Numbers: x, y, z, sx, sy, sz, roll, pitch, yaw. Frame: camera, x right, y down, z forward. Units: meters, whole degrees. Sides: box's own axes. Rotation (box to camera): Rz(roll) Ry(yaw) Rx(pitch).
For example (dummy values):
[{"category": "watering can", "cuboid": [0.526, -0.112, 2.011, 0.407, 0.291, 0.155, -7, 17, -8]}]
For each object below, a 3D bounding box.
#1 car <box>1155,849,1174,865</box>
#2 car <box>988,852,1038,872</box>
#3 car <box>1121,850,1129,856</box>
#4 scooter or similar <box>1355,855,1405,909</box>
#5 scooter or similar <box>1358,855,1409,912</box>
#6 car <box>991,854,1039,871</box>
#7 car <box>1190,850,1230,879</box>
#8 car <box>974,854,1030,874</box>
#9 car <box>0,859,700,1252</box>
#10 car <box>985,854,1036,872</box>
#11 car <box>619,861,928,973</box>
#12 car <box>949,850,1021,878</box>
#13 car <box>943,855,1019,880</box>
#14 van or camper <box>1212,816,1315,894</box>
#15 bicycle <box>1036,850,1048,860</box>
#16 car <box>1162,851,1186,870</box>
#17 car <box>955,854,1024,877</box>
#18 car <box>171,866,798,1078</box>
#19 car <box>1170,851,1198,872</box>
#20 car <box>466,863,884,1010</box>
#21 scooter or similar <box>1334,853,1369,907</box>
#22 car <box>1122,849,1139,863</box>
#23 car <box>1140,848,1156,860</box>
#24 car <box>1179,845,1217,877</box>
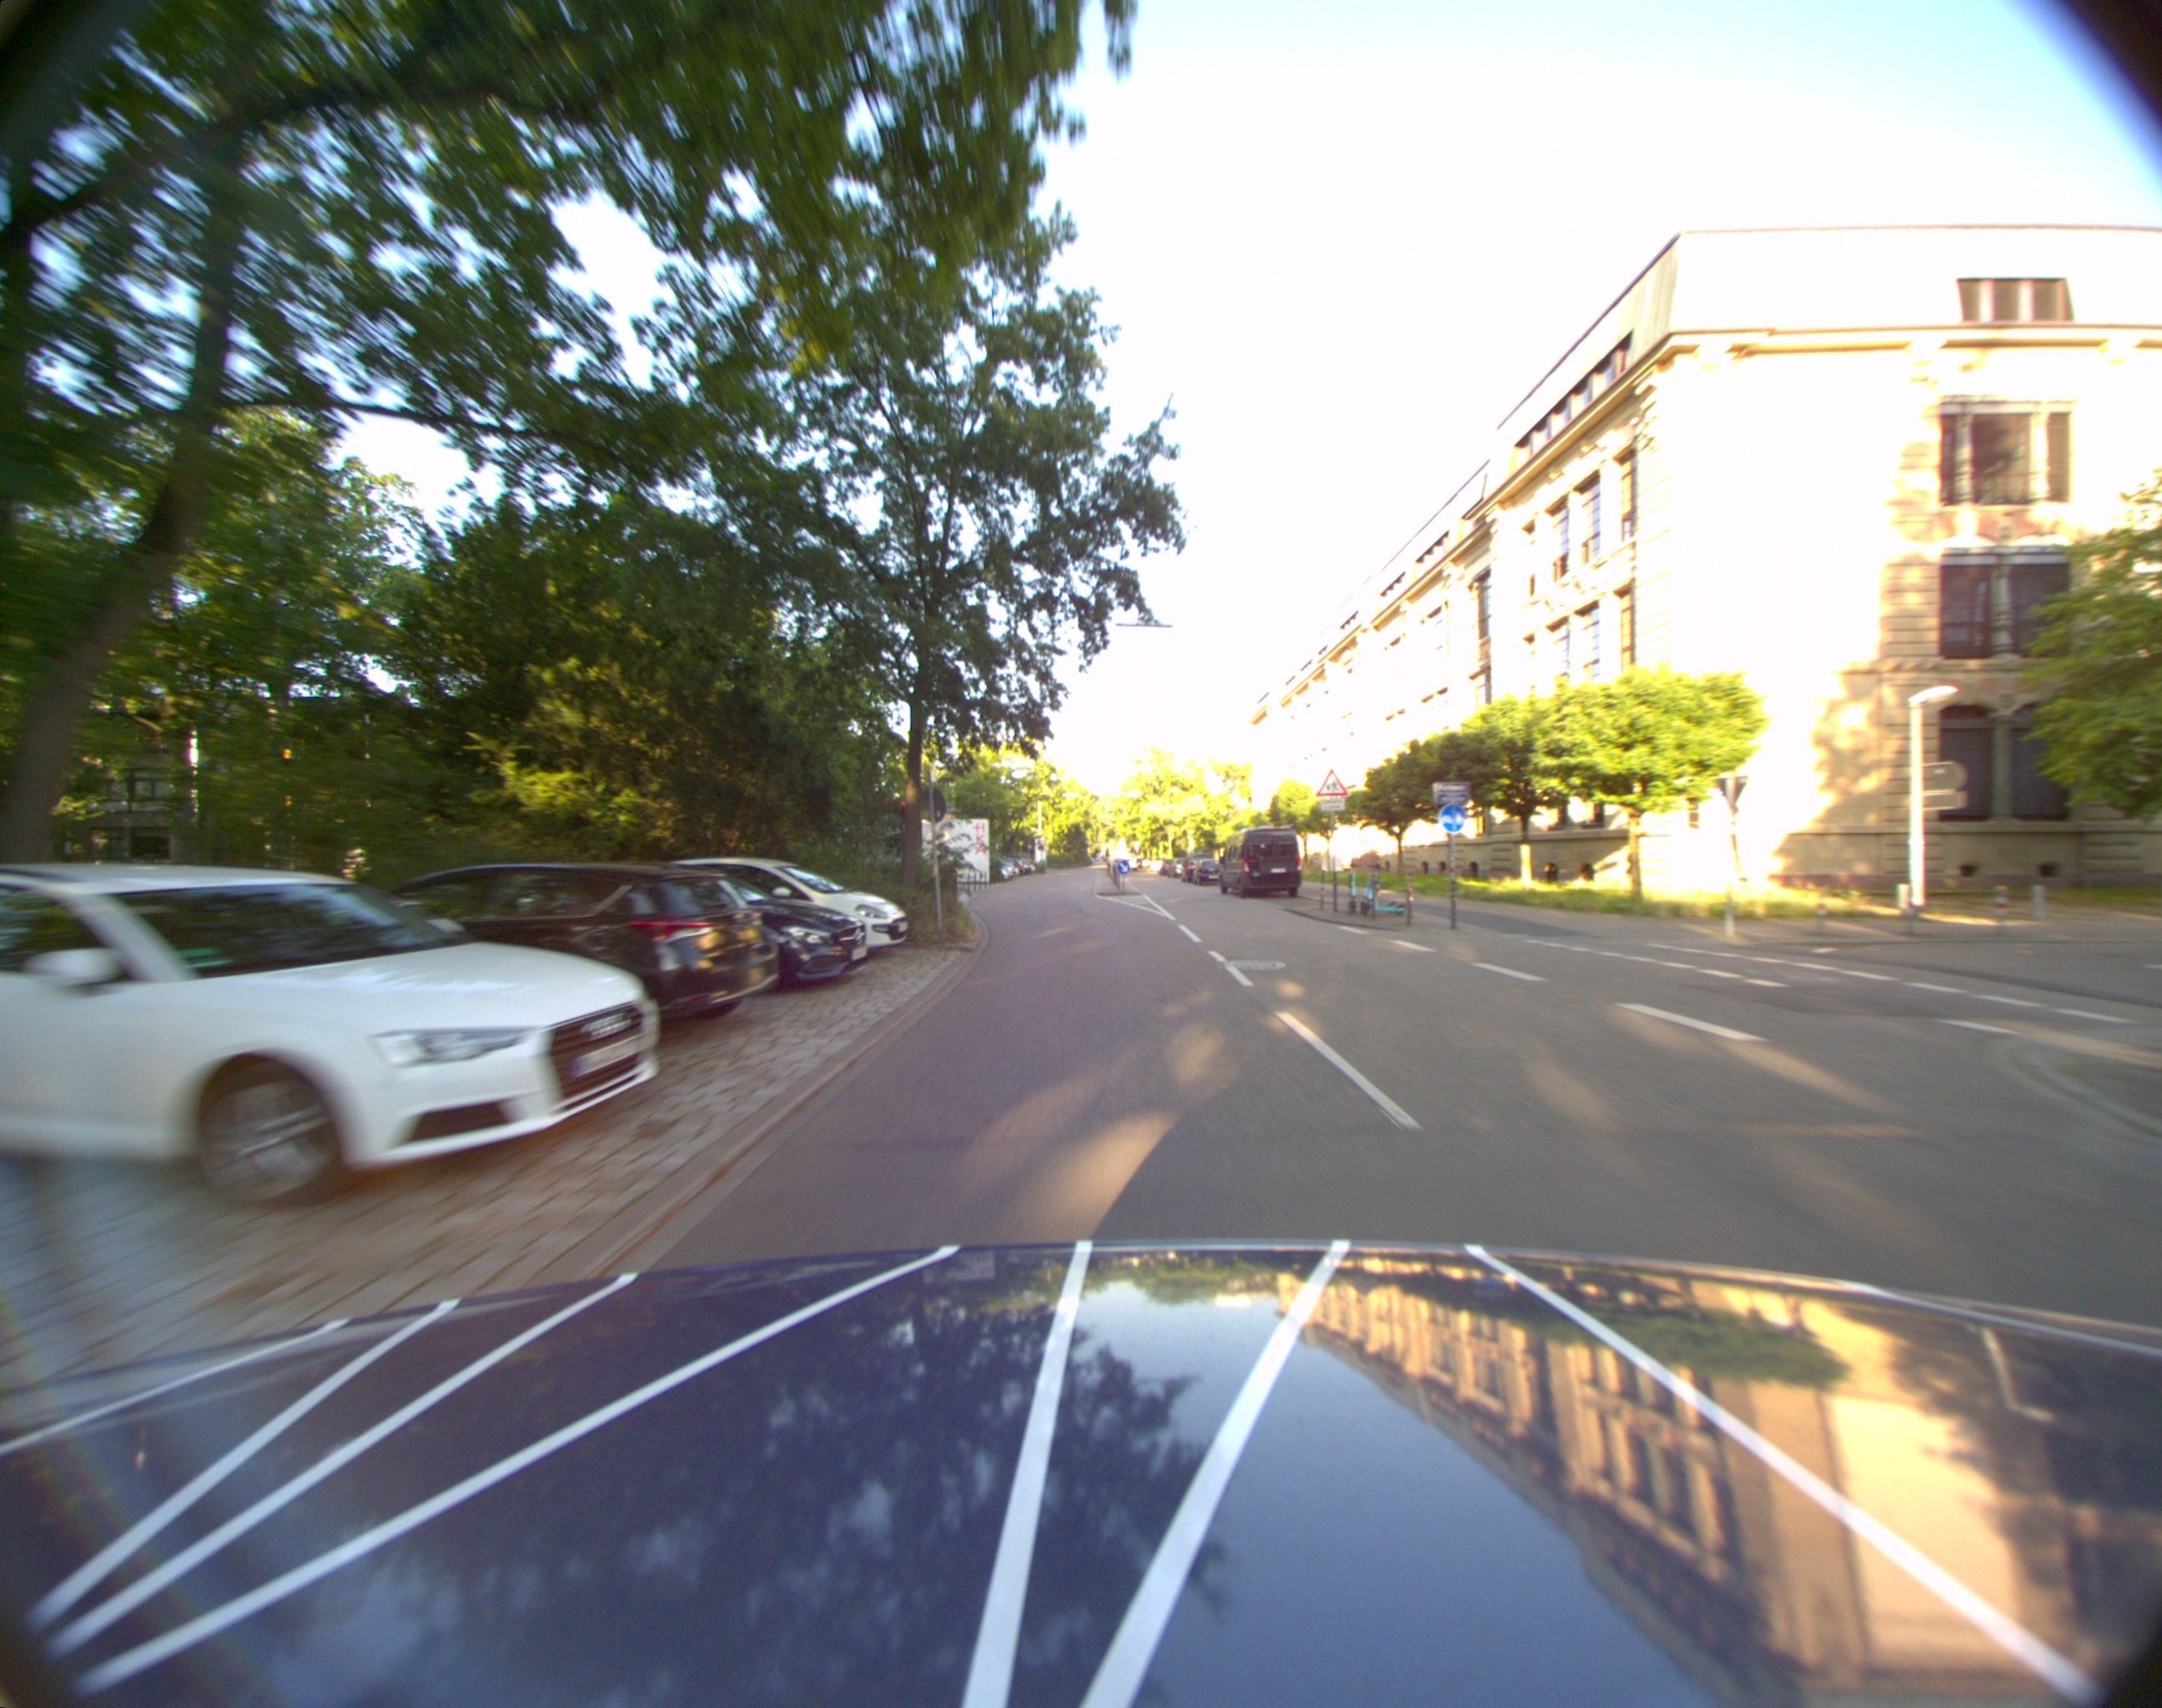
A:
[{"category": "car", "cuboid": [8.598, 0.281, 78.640, 1.622, 1.487, 3.924, -1, 1, 1]}, {"category": "car", "cuboid": [-6.302, 0.709, 70.728, 4.373, 1.770, 1.920, 1, 1, 1]}, {"category": "car", "cuboid": [11.346, -0.349, 195.493, 1.776, 1.474, 4.109, -2, 0, 1]}, {"category": "scooter or similar", "cuboid": [7.299, 0.666, 18.546, 1.346, 1.267, 0.431, -2, 2, -34]}, {"category": "scooter or similar", "cuboid": [7.119, 0.667, 17.863, 1.346, 1.267, 0.431, -2, 2, -34]}, {"category": "car", "cuboid": [-6.291, 0.812, 72.976, 4.373, 1.545, 1.727, 1, 1, 1]}, {"category": "car", "cuboid": [7.176, 0.554, 42.539, 1.700, 1.462, 3.854, -3, 1, 3]}, {"category": "car", "cuboid": [-6.423, 0.821, 62.211, 4.373, 1.528, 1.920, 1, 1, 1]}, {"category": "car", "cuboid": [-4.730, 0.821, 4.033, 4.494, 1.545, 1.857, 0, -1, 3]}, {"category": "car", "cuboid": [-6.263, 0.788, 67.836, 4.373, 1.545, 1.876, 1, 1, 1]}, {"category": "car", "cuboid": [-4.540, 0.909, 11.636, 3.997, 1.545, 1.725, 0, 1, 1]}, {"category": "car", "cuboid": [-6.890, 0.709, 54.886, 4.864, 1.905, 1.916, 1, 1, 1]}, {"category": "car", "cuboid": [-6.838, 0.929, 52.206, 4.939, 1.545, 1.916, 1, 1, 1]}, {"category": "van or camper", "cuboid": [6.760, -0.009, 29.110, 2.235, 2.530, 7.079, -2, 1, 1]}, {"category": "bicycle", "cuboid": [-4.634, 0.145, 91.281, 0.492, 1.141, 2.289, 3, 0, 21]}, {"category": "car", "cuboid": [8.007, 0.539, 65.786, 1.622, 1.487, 4.377, -1, 1, 1]}, {"category": "car", "cuboid": [-6.838, 0.863, 57.424, 4.939, 1.545, 1.916, 1, 1, 1]}, {"category": "car", "cuboid": [-4.751, 0.891, 6.490, 3.997, 1.545, 1.752, 0, -1, 1]}, {"category": "car", "cuboid": [7.948, 0.563, 58.992, 1.723, 1.487, 4.377, -1, 1, 2]}, {"category": "car", "cuboid": [-4.562, 0.898, 8.962, 3.997, 1.545, 1.726, 0, -1, 1]}, {"category": "scooter or similar", "cuboid": [6.744, 0.626, 18.927, 0.430, 1.267, 1.346, 0, 1, 37]}, {"category": "car", "cuboid": [5.590, 0.224, 85.905, 1.745, 1.450, 4.623, 0, 1, 1]}, {"category": "car", "cuboid": [8.703, 0.005, 99.354, 1.806, 1.502, 4.862, -2, 1, 3]}, {"category": "car", "cuboid": [7.381, 0.401, 48.204, 1.781, 1.855, 4.332, -3, 0, 2]}]
